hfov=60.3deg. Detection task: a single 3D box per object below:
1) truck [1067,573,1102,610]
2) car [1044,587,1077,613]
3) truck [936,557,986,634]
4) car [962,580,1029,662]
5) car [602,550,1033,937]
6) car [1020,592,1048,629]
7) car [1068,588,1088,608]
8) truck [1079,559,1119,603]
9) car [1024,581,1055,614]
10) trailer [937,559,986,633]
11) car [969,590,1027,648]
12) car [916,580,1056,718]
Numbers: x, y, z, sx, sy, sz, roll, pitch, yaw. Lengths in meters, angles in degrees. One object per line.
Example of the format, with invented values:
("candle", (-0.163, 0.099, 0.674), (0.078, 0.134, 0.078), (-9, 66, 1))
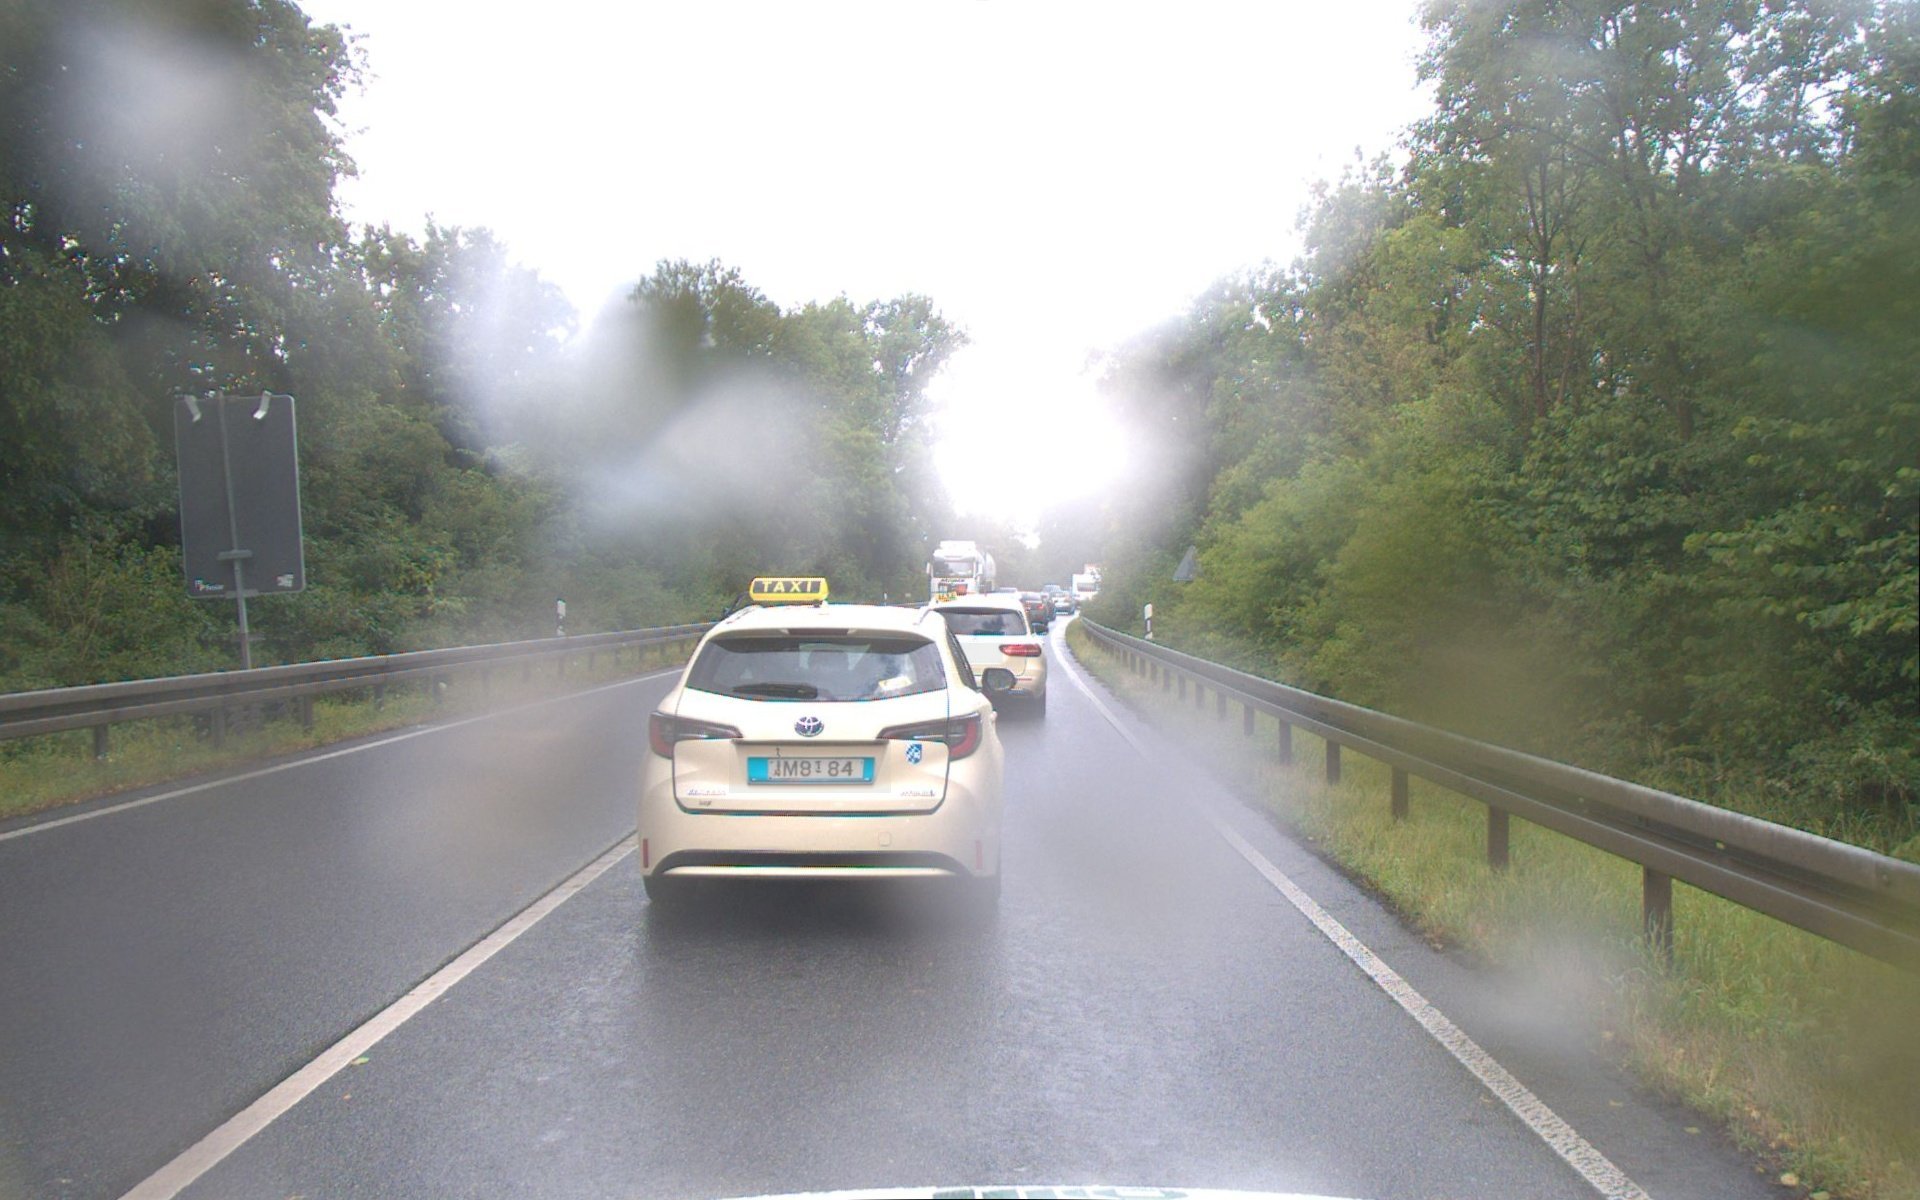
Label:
("truck", (9.664, -0.591, 129.133), (2.496, 2.760, 7.538), (1, 0, 3))
("car", (6.444, 0.013, 106.095), (1.732, 1.574, 3.817), (1, 0, 9))
("truck", (0.065, -0.218, 87.408), (2.484, 3.892, 5.244), (1, 0, 0))
("car", (0.713, 0.416, 33.705), (1.274, 1.574, 3.260), (1, 0, 1))
("car", (-0.618, 0.622, 9.099), (1.796, 1.608, 4.156), (1, 0, 0))
("car", (3.197, 0.445, 71.590), (1.143, 1.574, 2.605), (1, 0, 2))
("car", (12.776, -0.194, 178.784), (1.550, 2.049, 3.764), (1, 0, 13))
("truck", (12.523, -1.656, 148.347), (3.041, 3.745, 7.006), (1, 0, 9))
("car", (4.102, -0.111, 85.715), (1.582, 1.641, 3.622), (1, 0, 2))
("trailer", (0.151, -0.187, 92.793), (2.483, 3.892, 7.793), (1, 0, 2))
("car", (1.048, 0.513, 47.056), (1.578, 1.574, 3.814), (0, 0, 0))
("car", (0.358, 0.591, 21.551), (1.633, 1.608, 3.892), (1, 0, 1))
